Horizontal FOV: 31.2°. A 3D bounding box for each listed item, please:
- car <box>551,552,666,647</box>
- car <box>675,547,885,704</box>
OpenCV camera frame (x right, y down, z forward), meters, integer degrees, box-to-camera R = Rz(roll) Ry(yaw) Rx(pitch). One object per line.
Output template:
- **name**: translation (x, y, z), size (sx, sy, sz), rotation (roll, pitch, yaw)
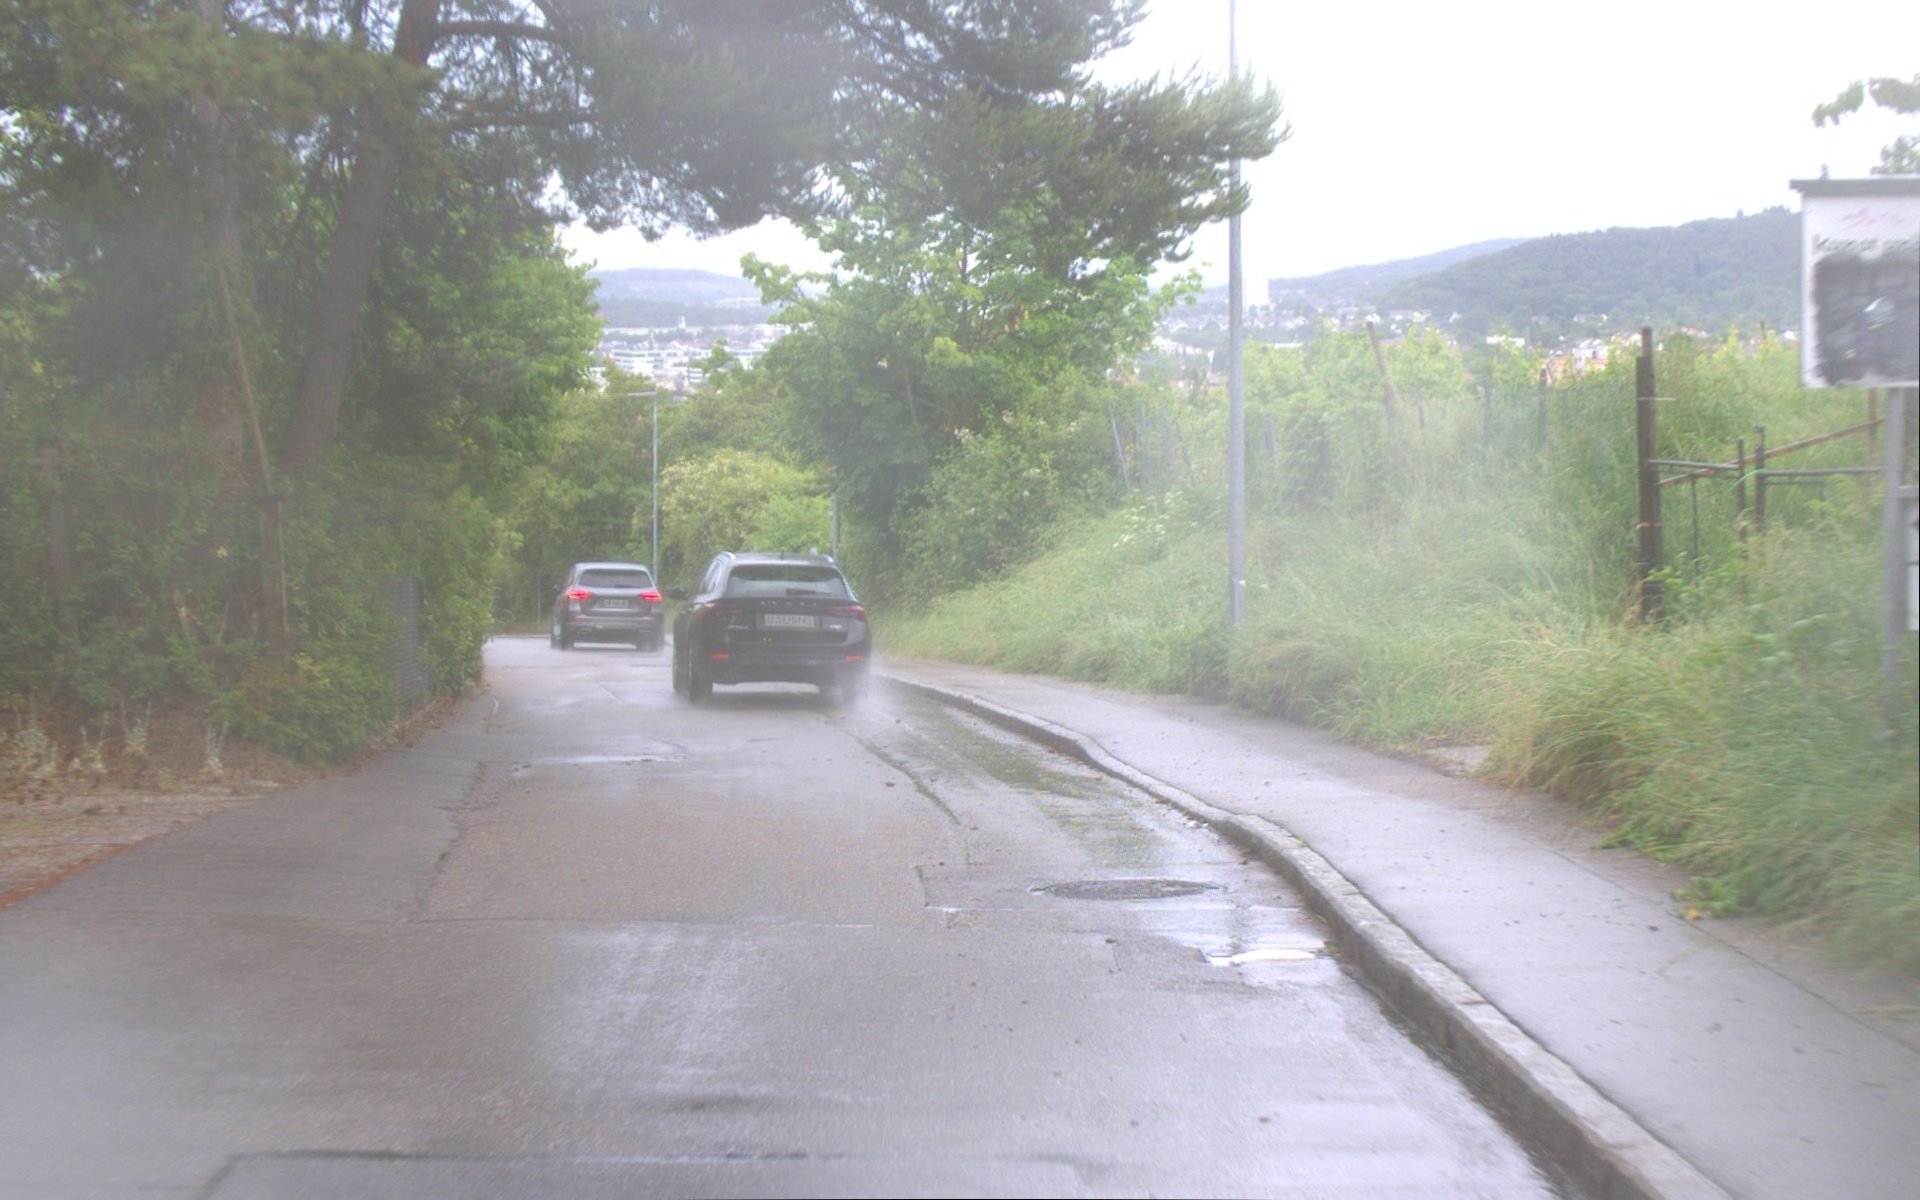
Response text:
- **car**: translation (-6.219, -0.031, 60.526), size (1.677, 1.560, 3.795), rotation (1, 1, -11)
- **car**: translation (-1.859, 0.212, 34.448), size (1.834, 1.459, 4.001), rotation (-1, 1, -7)
